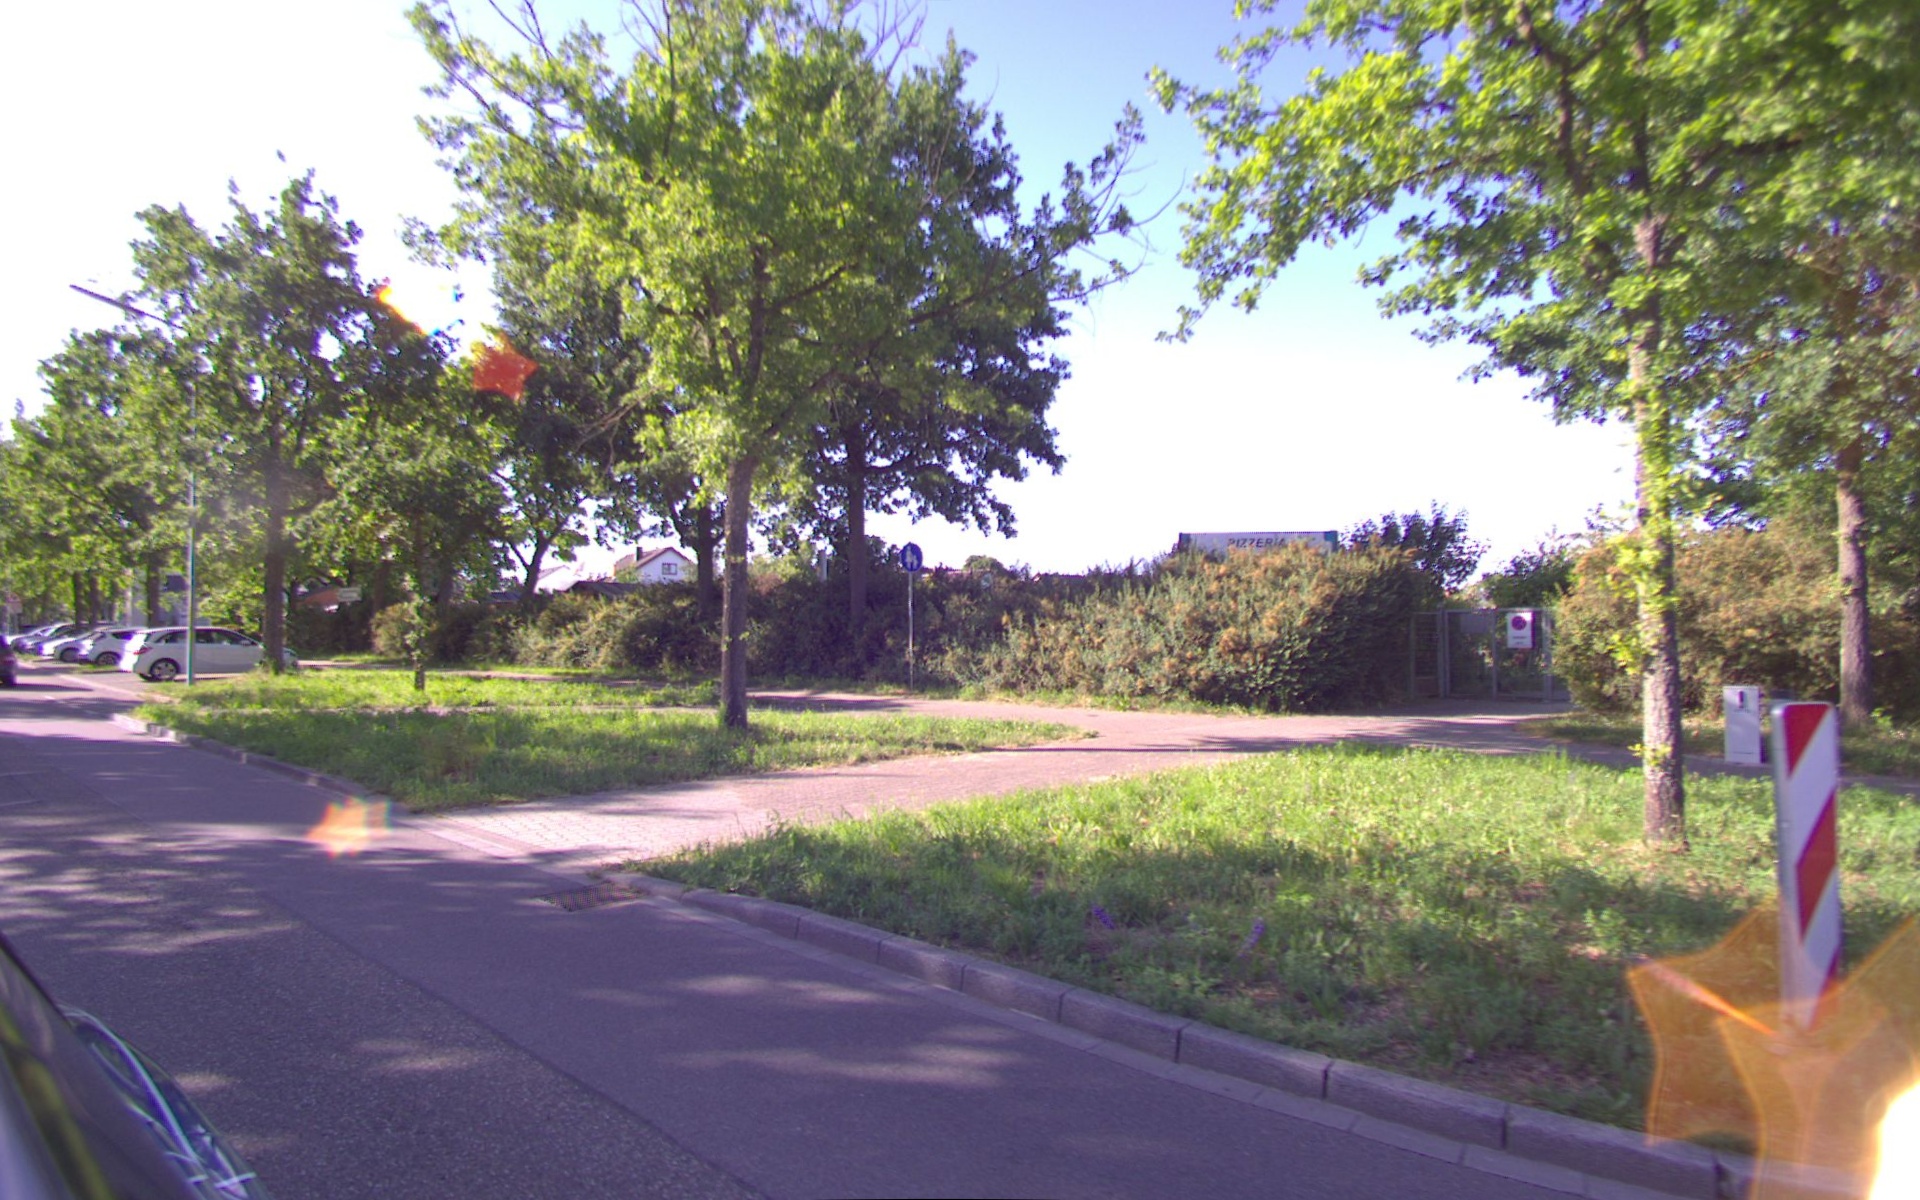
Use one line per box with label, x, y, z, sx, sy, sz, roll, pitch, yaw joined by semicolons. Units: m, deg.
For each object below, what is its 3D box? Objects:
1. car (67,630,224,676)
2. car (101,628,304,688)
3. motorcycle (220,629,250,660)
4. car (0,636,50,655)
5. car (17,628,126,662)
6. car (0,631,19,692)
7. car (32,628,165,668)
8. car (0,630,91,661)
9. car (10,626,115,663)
car;-30.650;1.968;38.175;2.087;1.522;4.366;-2;-1;42
car;-22.924;1.714;30.773;2.189;1.570;4.581;-2;-1;38
motorcycle;-34.793;2.128;48.551;1.991;1.443;0.729;-2;1;43
car;-77.359;3.716;83.026;3.976;1.490;1.944;2;-3;-41
car;-45.672;2.273;52.046;1.866;1.568;4.089;-2;-1;44
car;-26.207;1.580;26.443;4.491;1.540;1.747;-2;-4;40
car;-38.296;2.106;45.053;2.089;1.568;4.363;-2;-1;44
car;-53.483;2.647;59.076;1.877;1.655;4.017;-2;-1;45
car;-49.311;2.408;55.661;1.998;1.898;4.182;-2;-1;42
